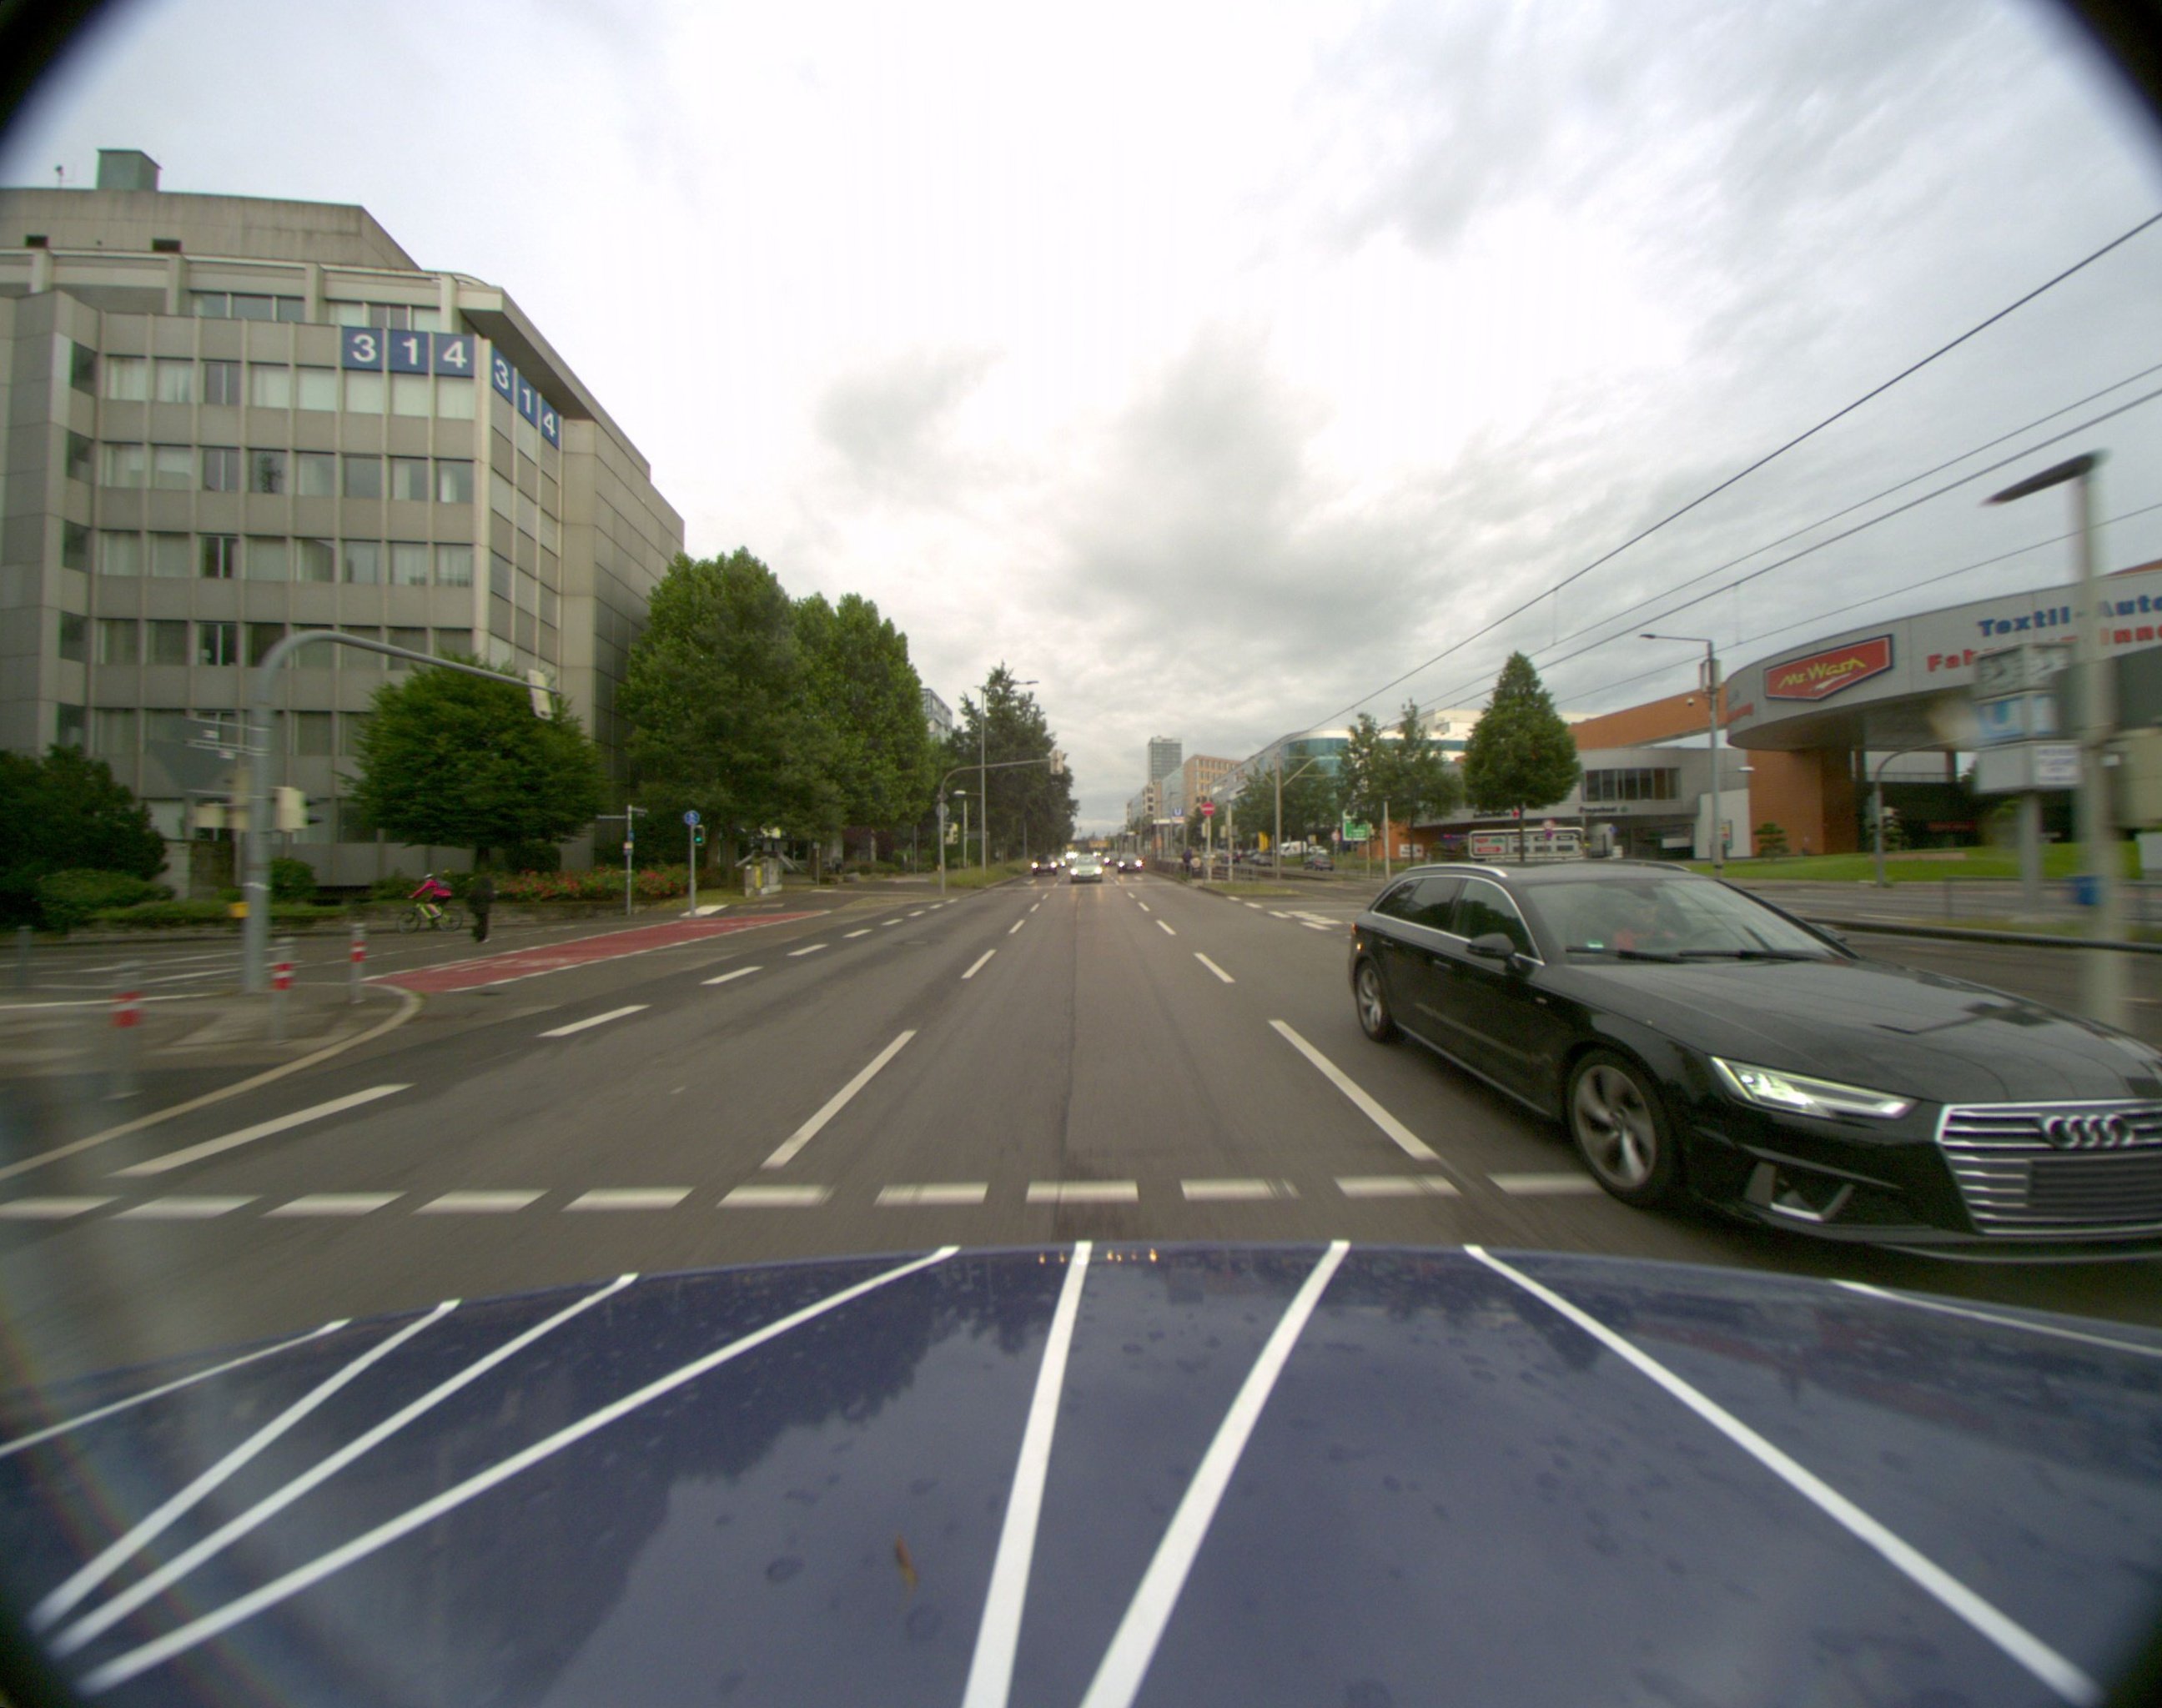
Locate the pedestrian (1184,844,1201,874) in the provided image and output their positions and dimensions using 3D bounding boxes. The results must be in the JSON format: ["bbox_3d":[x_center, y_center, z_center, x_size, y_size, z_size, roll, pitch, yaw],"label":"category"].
[{"bbox_3d":[6.351,0.291,43.272,0.703,1.641,0.648,-2,1,-28],"label":"pedestrian"}]

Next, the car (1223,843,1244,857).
[{"bbox_3d":[20.080,-0.513,100.233,1.998,1.764,4.388,-1,1,1],"label":"car"}]

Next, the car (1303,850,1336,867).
[{"bbox_3d":[20.883,0.358,66.736,1.732,1.415,3.779,-1,1,0],"label":"car"}]

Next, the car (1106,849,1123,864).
[{"bbox_3d":[3.762,0.266,86.024,1.781,1.670,4.130,-2,0,0],"label":"car"}]

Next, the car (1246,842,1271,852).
[{"bbox_3d":[33.628,-1.248,144.051,3.999,1.652,1.921,-4,1,-6],"label":"car"}]

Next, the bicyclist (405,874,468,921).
[{"bbox_3d":[-19.301,1.296,22.780,1.220,1.281,0.656,-3,1,-14],"label":"bicyclist"}]

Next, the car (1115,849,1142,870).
[{"bbox_3d":[3.561,0.399,57.381,1.798,1.493,4.000,-2,0,1],"label":"car"}]

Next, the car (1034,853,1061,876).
[{"bbox_3d":[-2.588,0.763,59.117,1.816,1.660,4.548,-2,0,0],"label":"car"}]

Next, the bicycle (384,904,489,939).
[{"bbox_3d":[-19.288,2.012,22.784,2.319,0.804,0.668,-3,1,-14],"label":"bicycle"}]

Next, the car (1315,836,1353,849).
[{"bbox_3d":[41.968,-1.841,126.206,5.483,1.915,2.277,-3,1,-6],"label":"car"}]

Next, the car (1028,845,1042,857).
[{"bbox_3d":[-6.905,-0.472,114.963,1.816,1.660,4.370,-2,0,0],"label":"car"}]

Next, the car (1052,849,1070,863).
[{"bbox_3d":[-2.276,0.255,88.804,1.873,1.533,4.106,-2,0,0],"label":"car"}]

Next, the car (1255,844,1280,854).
[{"bbox_3d":[33.461,-0.912,136.497,3.999,1.499,1.896,-3,1,-8],"label":"car"}]

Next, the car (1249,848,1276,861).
[{"bbox_3d":[20.154,0.047,84.426,1.858,1.419,4.387,0,1,-2],"label":"car"}]

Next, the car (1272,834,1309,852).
[{"bbox_3d":[34.781,-1.807,126.400,5.487,2.614,2.275,-3,1,-17],"label":"car"}]

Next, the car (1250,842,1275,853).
[{"bbox_3d":[33.810,-1.209,141.383,3.999,1.652,1.921,-3,1,-6],"label":"car"}]

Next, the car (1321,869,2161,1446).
[{"bbox_3d":[3.082,0.892,4.512,1.794,1.426,4.828,-2,0,0],"label":"car"}]

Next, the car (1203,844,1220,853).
[{"bbox_3d":[23.711,-0.985,138.169,1.999,1.509,4.705,-3,1,-1],"label":"car"}]

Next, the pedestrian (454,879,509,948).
[{"bbox_3d":[-14.278,1.394,18.099,0.901,1.532,0.801,0,1,40],"label":"pedestrian"}]

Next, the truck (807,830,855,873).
[{"bbox_3d":[-15.562,-0.182,47.540,1.751,2.503,3.998,-3,1,-3],"label":"truck"}]

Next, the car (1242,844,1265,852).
[{"bbox_3d":[33.384,-1.188,146.999,3.999,1.482,1.823,-2,1,-6],"label":"car"}]

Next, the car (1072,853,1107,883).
[{"bbox_3d":[0.460,0.739,42.809,1.803,1.533,4.374,-2,0,0],"label":"car"}]
